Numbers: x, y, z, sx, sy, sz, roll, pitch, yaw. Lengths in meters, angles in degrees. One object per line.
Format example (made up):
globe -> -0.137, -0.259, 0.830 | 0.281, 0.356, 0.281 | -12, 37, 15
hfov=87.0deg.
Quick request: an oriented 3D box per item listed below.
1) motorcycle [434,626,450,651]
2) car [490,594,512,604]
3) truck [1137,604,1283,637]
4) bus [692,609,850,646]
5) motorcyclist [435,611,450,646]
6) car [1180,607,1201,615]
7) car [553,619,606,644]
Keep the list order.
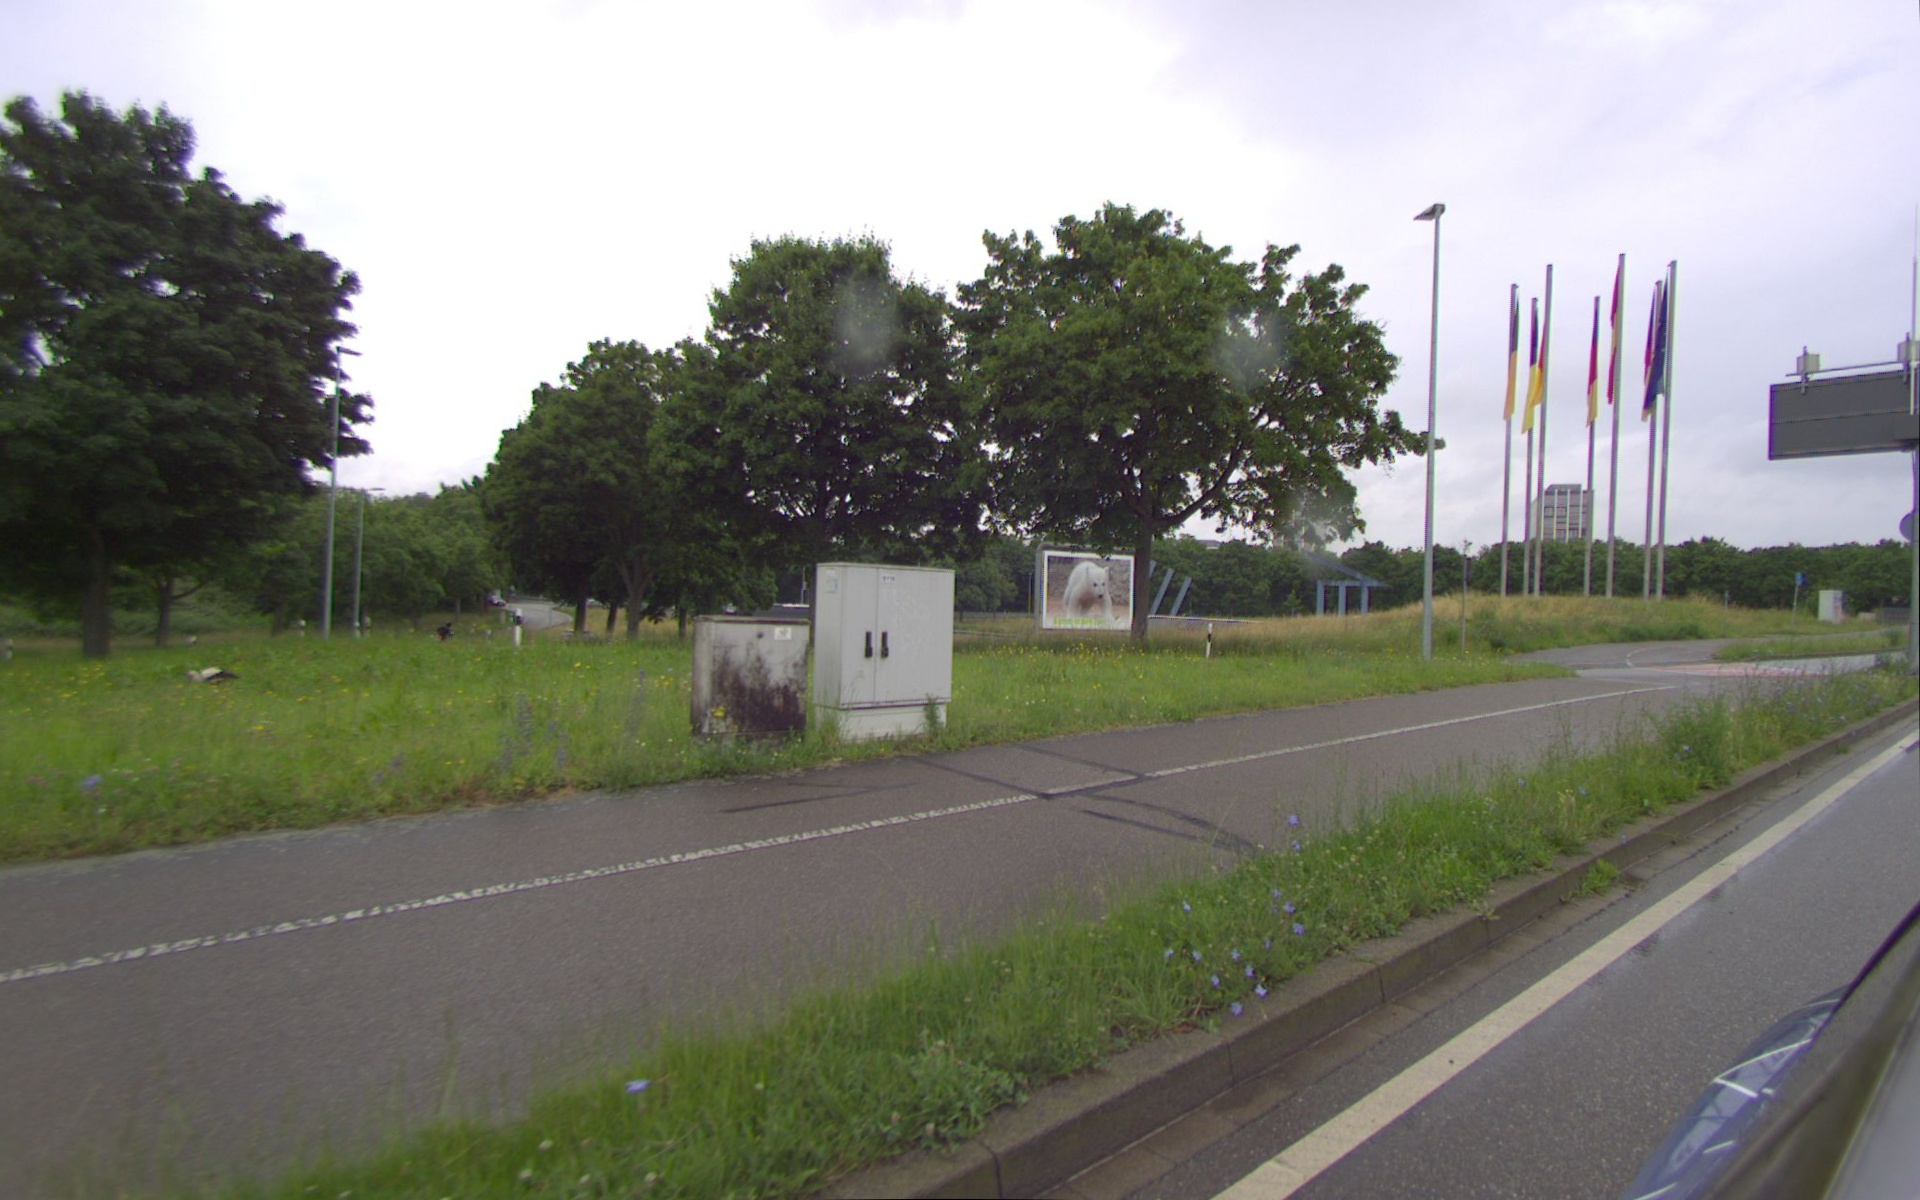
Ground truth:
motorcycle -> -25.759, 1.893, 50.307 | 0.590, 1.107, 1.735 | 1, 1, -24
car -> -84.570, -0.168, 186.628 | 3.975, 1.725, 1.975 | 1, 0, 35
truck -> 28.391, 2.293, 115.735 | 16.120, 3.433, 2.721 | 0, 0, 29
bus -> -16.498, 2.350, 89.953 | 14.335, 2.713, 2.759 | -1, 1, -40
motorcyclist -> -25.727, 1.410, 50.305 | 0.590, 1.711, 0.862 | 1, 1, -24
car -> 46.079, 2.215, 202.206 | 3.940, 1.652, 1.992 | 0, 0, 14
car -> -27.276, 2.250, 72.667 | 1.830, 1.638, 3.989 | 0, 0, 9
